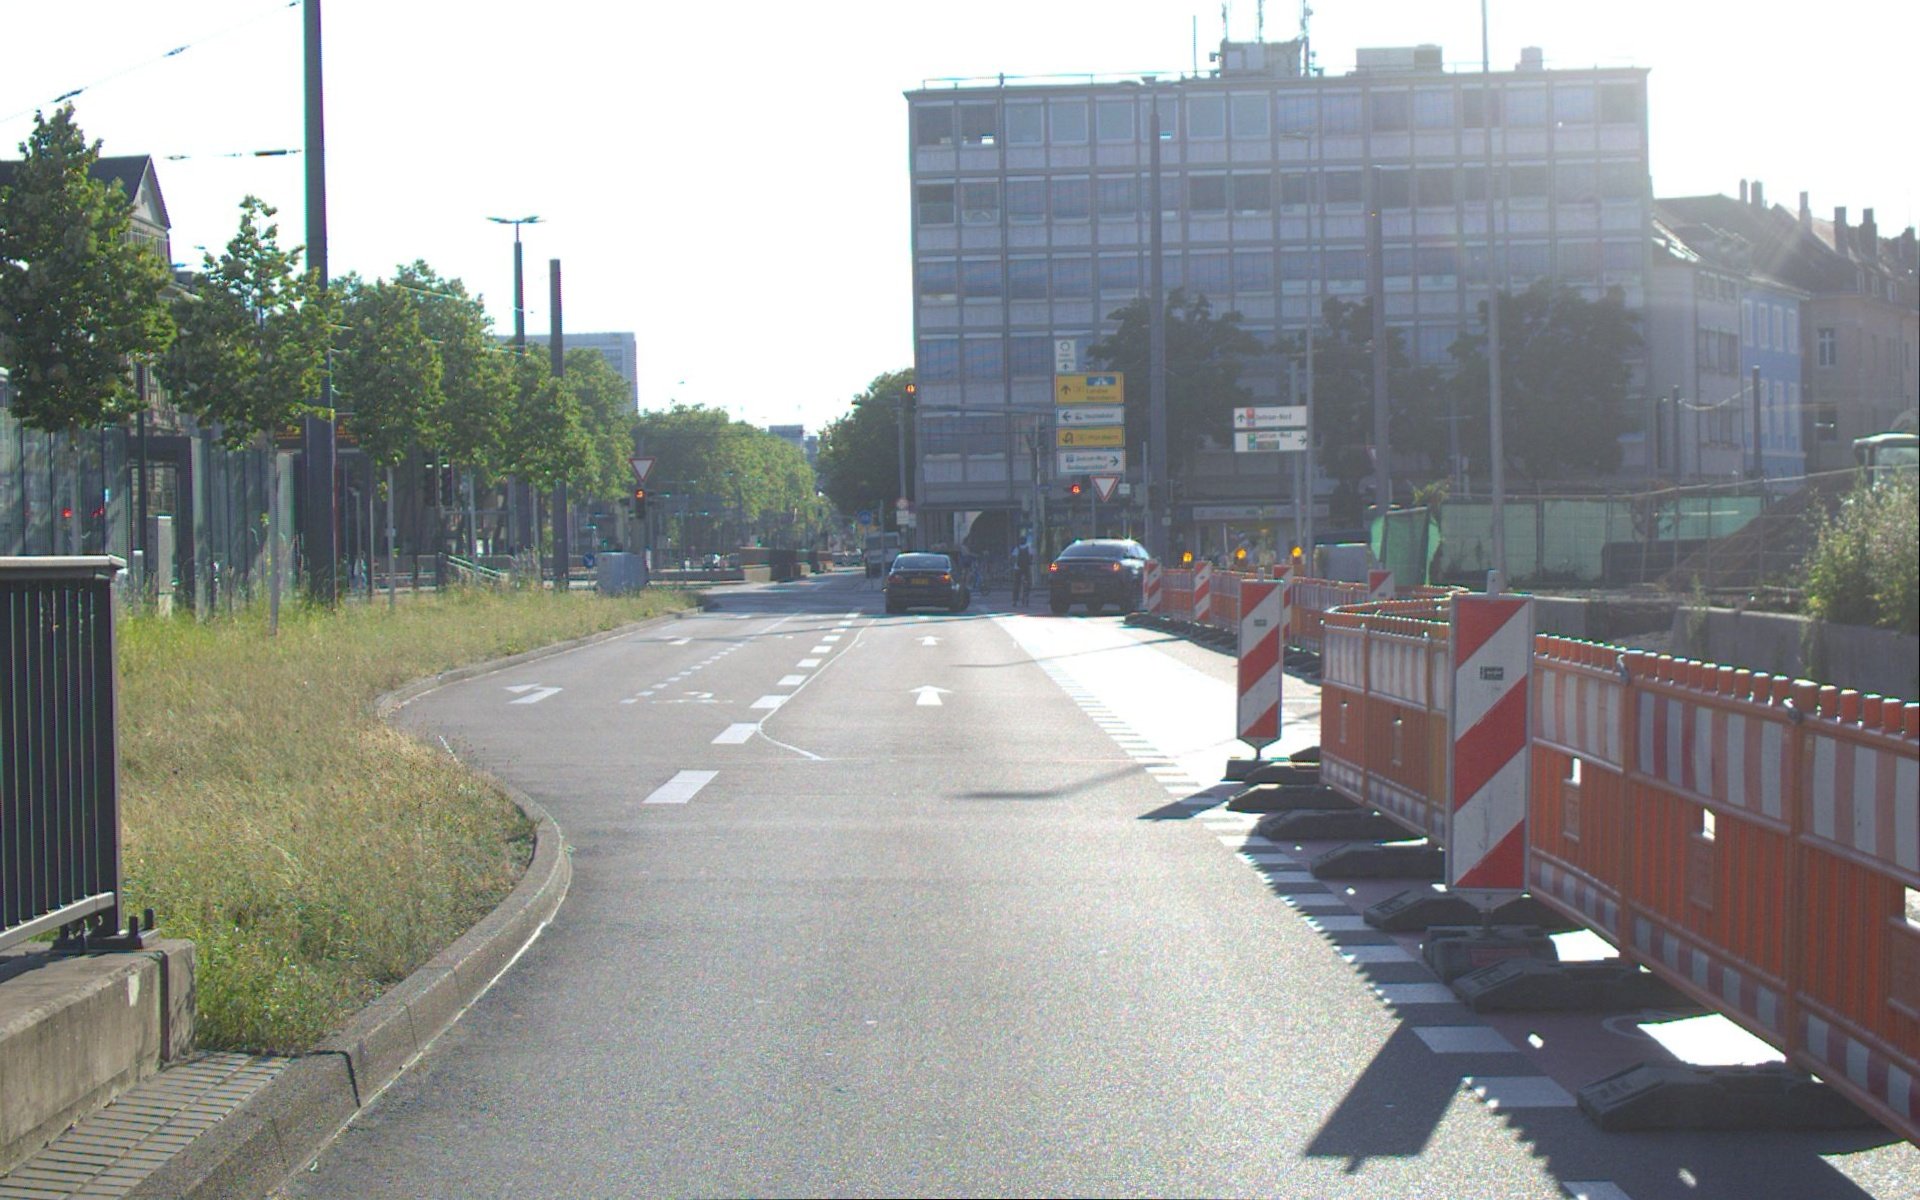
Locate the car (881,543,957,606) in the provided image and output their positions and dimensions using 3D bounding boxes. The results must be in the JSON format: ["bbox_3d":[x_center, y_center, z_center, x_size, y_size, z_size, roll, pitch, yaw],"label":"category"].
[{"bbox_3d":[-0.994,-0.616,81.507,1.743,1.421,4.000,-1,1,-1],"label":"car"}]

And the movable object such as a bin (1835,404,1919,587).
[{"bbox_3d":[20.576,-2.091,67.585,6.069,3.545,2.858,-1,1,25],"label":"movable object such as a bin"}]

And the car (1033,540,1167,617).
[{"bbox_3d":[3.354,-0.532,81.619,1.996,1.687,3.996,1,2,21],"label":"car"}]

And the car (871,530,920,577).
[{"bbox_3d":[-3.516,-2.514,185.938,2.486,2.384,5.935,-3,1,-1],"label":"car"}]

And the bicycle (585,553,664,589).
[{"bbox_3d":[-9.893,-0.864,101.290,2.226,1.023,0.682,-1,1,3],"label":"bicycle"}]

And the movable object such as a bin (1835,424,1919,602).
[{"bbox_3d":[15.668,-1.373,54.369,2.275,2.694,4.943,-1,1,-1],"label":"movable object such as a bin"}]

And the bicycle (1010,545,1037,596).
[{"bbox_3d":[1.618,-0.759,88.170,0.644,1.219,2.048,1,2,0],"label":"bicycle"}]

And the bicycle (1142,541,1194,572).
[{"bbox_3d":[7.494,-1.575,124.051,1.775,1.068,0.535,-2,1,-10],"label":"bicycle"}]

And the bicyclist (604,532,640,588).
[{"bbox_3d":[-9.952,-1.179,101.288,0.959,1.656,0.691,-1,1,3],"label":"bicyclist"}]

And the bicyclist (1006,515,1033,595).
[{"bbox_3d":[1.522,-1.160,88.161,0.643,2.006,1.067,1,3,0],"label":"bicyclist"}]

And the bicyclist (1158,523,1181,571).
[{"bbox_3d":[7.556,-1.896,124.063,0.663,1.706,0.538,-2,1,-10],"label":"bicyclist"}]
